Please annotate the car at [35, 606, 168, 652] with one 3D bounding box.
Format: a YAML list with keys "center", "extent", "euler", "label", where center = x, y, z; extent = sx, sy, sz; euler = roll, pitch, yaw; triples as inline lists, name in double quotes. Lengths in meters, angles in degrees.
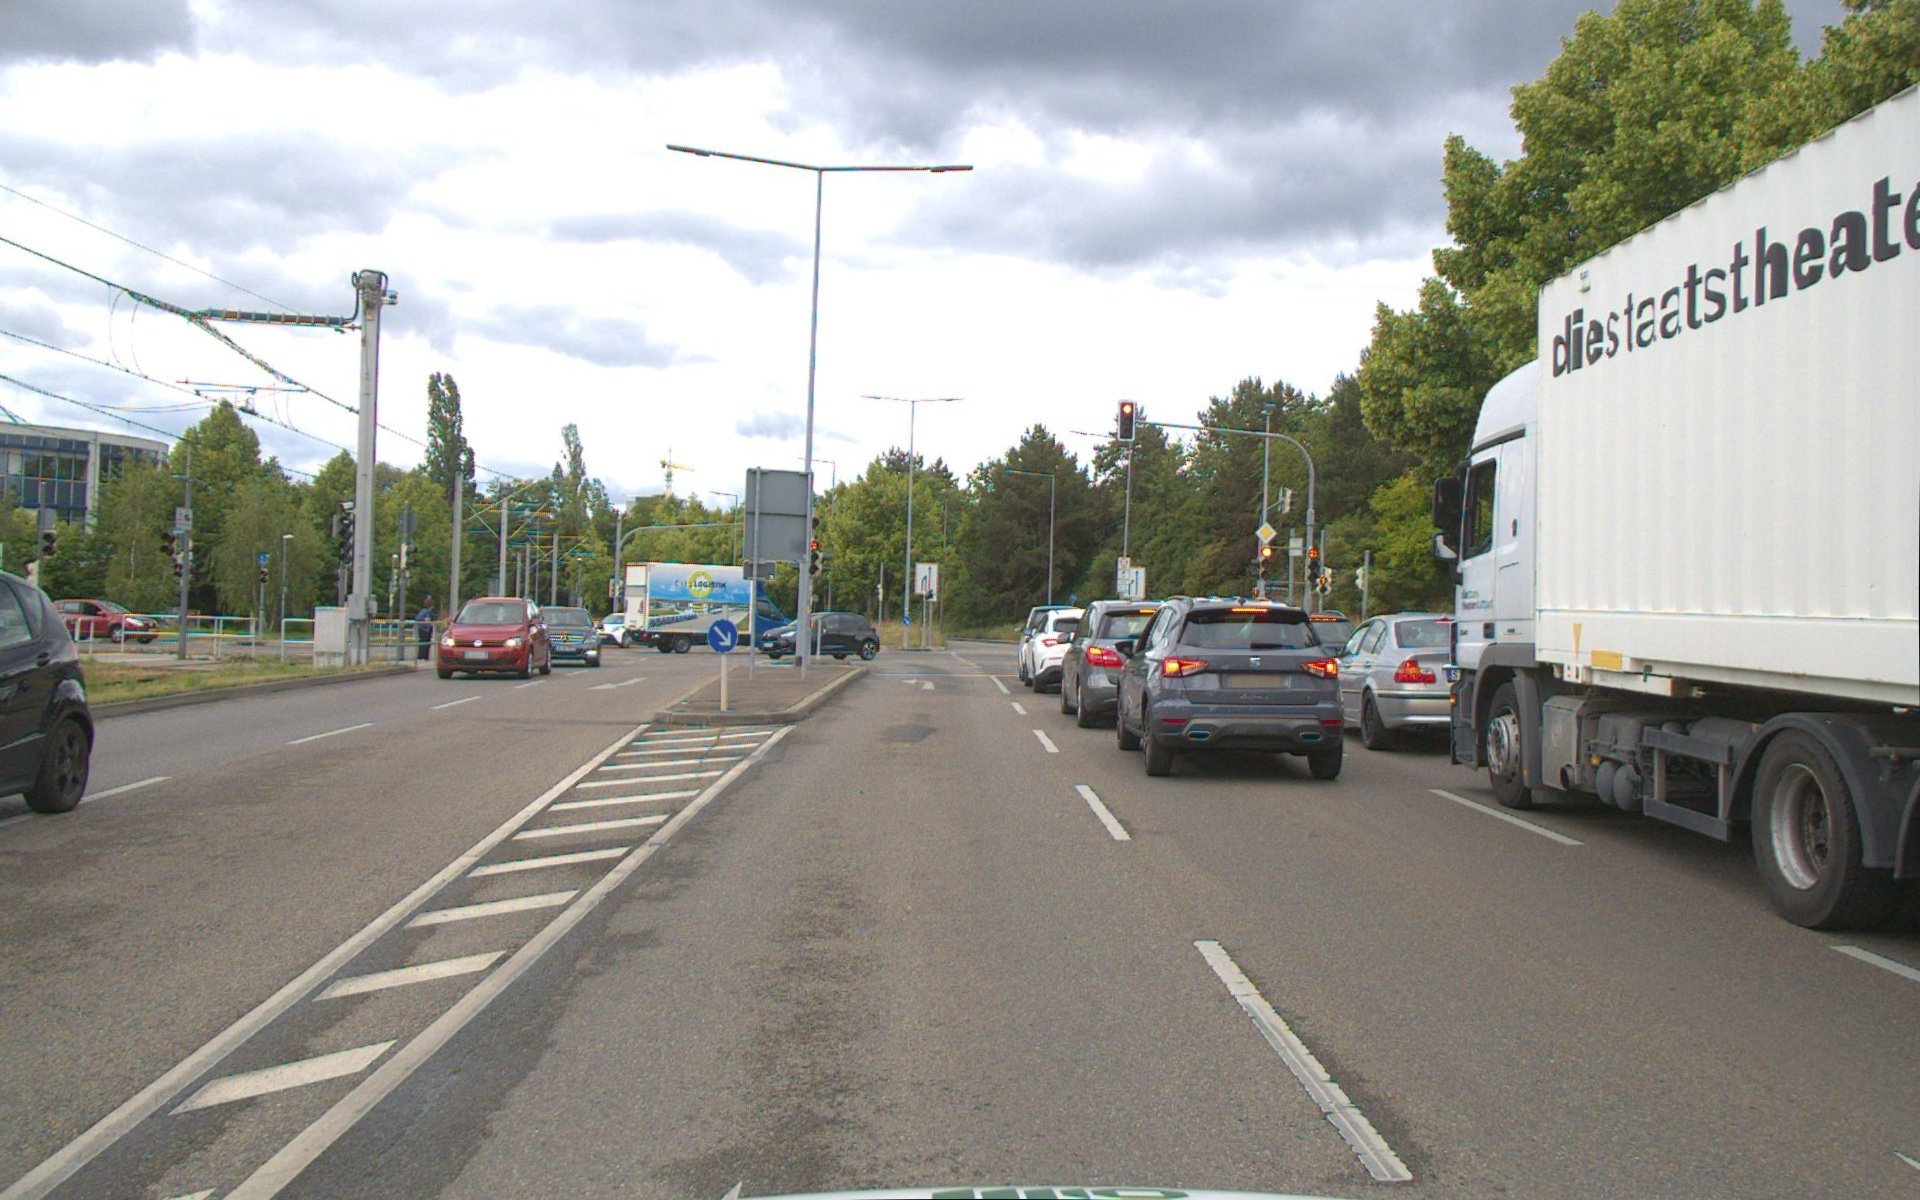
- center: [-30.540, 1.039, 58.901]
  extent: [3.902, 1.543, 1.733]
  euler: [0, -2, 9]
  label: "car"

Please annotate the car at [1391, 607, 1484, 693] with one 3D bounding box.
- center: [10.292, 1.032, 35.480]
  extent: [1.667, 1.666, 4.245]
  euler: [2, 0, 19]
  label: "car"

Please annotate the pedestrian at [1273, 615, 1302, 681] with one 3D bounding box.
- center: [7.419, 1.088, 37.450]
  extent: [0.598, 1.479, 0.354]
  euler: [1, 0, 8]
  label: "pedestrian"

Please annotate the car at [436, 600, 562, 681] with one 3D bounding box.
- center: [-9.152, 0.755, 33.108]
  extent: [1.669, 1.514, 4.082]
  euler: [0, 0, -5]
  label: "car"

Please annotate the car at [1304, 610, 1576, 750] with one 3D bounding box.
- center: [5.198, 0.812, 18.476]
  extent: [1.775, 1.378, 4.117]
  euler: [0, 0, -1]
  label: "car"

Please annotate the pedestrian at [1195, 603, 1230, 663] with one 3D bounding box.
- center: [6.782, 0.880, 44.435]
  extent: [0.846, 1.588, 0.518]
  euler: [1, 0, -3]
  label: "pedestrian"

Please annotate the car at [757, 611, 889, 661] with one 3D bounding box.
- center: [-4.308, 1.121, 52.123]
  extent: [3.877, 1.522, 1.586]
  euler: [1, 0, -26]
  label: "car"

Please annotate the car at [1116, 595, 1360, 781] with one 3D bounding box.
- center: [2.467, 0.729, 15.560]
  extent: [1.663, 1.512, 4.000]
  euler: [0, 0, 1]
  label: "car"

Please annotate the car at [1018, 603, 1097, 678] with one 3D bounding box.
- center: [2.050, 0.857, 35.386]
  extent: [1.504, 1.531, 2.669]
  euler: [0, -1, -1]
  label: "car"

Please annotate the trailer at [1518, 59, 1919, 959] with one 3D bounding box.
- center: [5.277, -0.385, 8.039]
  extent: [2.513, 3.770, 7.764]
  euler: [0, 0, 0]
  label: "trailer"

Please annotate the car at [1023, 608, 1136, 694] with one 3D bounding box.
- center: [2.100, 0.883, 30.130]
  extent: [1.686, 1.447, 4.355]
  euler: [0, -1, -1]
  label: "car"

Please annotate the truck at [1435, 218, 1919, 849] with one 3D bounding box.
- center: [5.286, -0.415, 11.972]
  extent: [2.518, 3.770, 4.106]
  euler: [0, 0, 0]
  label: "truck"

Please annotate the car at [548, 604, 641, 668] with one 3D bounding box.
- center: [-9.012, 0.856, 41.084]
  extent: [1.658, 1.464, 4.541]
  euler: [1, 0, -5]
  label: "car"

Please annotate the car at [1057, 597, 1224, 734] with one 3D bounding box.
- center: [2.201, 0.747, 21.178]
  extent: [1.762, 1.550, 4.188]
  euler: [1, 0, 1]
  label: "car"

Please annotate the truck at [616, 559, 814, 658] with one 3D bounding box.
- center: [-9.499, 0.323, 64.376]
  extent: [7.166, 3.662, 2.664]
  euler: [0, 0, -31]
  label: "truck"

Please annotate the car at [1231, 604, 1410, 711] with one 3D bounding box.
- center: [5.303, 0.813, 24.840]
  extent: [1.788, 1.460, 4.212]
  euler: [1, -1, 0]
  label: "car"

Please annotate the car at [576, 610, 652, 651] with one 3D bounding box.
- center: [-15.259, 1.316, 73.089]
  extent: [1.738, 1.534, 3.750]
  euler: [1, 2, 16]
  label: "car"

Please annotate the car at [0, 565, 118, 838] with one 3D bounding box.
- center: [-6.454, 0.588, 9.410]
  extent: [1.692, 1.601, 3.703]
  euler: [1, 0, -5]
  label: "car"

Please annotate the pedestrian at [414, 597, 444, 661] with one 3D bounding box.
- center: [-13.556, 0.733, 42.256]
  extent: [0.347, 1.583, 0.651]
  euler: [2, 2, 33]
  label: "pedestrian"
